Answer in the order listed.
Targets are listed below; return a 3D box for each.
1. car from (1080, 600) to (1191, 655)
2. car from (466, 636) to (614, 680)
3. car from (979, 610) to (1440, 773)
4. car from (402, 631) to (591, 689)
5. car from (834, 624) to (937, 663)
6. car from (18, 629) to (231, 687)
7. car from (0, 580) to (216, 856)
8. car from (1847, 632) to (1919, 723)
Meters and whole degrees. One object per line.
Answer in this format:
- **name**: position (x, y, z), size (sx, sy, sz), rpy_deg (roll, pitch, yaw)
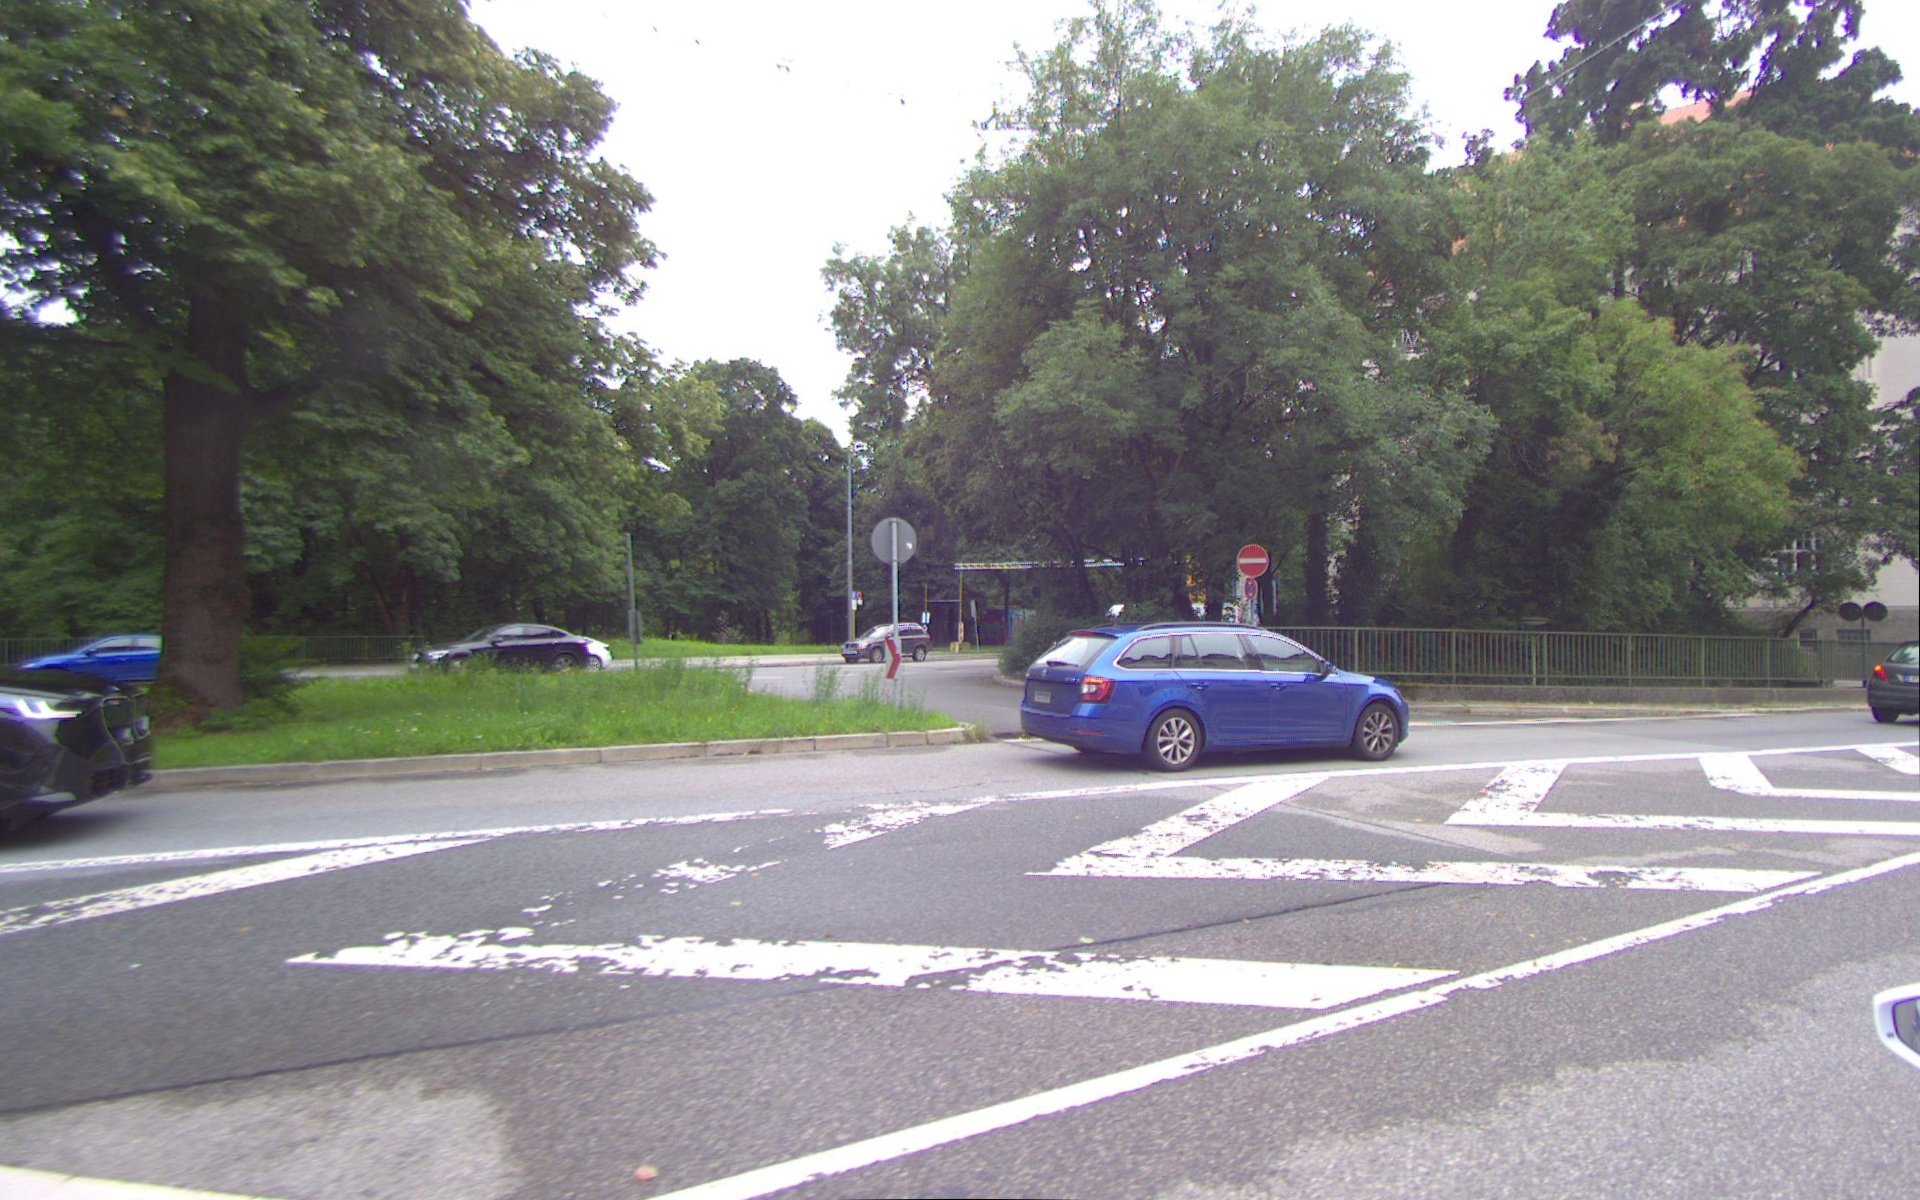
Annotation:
- **car**: position (7.775, 1.236, 44.282), size (5.093, 2.299, 2.279), rpy_deg (2, -3, -43)
- **car**: position (-14.663, 2.008, 35.201), size (4.393, 1.465, 1.975), rpy_deg (2, -4, -43)
- **car**: position (2.728, 0.903, 10.937), size (4.668, 1.473, 1.982), rpy_deg (1, -2, -24)
- **car**: position (-12.696, 1.597, 27.700), size (1.871, 1.465, 4.364), rpy_deg (-2, -3, 42)
- **car**: position (-3.417, 2.033, 46.622), size (4.616, 1.740, 1.975), rpy_deg (2, -4, -43)
- **car**: position (-22.945, 1.578, 27.714), size (4.393, 1.465, 1.975), rpy_deg (2, -4, -43)
- **car**: position (-7.618, 0.715, 5.976), size (4.764, 1.607, 1.909), rpy_deg (1, -4, -25)
- **car**: position (17.353, 1.292, 17.156), size (4.016, 1.480, 1.755), rpy_deg (1, -2, -23)
